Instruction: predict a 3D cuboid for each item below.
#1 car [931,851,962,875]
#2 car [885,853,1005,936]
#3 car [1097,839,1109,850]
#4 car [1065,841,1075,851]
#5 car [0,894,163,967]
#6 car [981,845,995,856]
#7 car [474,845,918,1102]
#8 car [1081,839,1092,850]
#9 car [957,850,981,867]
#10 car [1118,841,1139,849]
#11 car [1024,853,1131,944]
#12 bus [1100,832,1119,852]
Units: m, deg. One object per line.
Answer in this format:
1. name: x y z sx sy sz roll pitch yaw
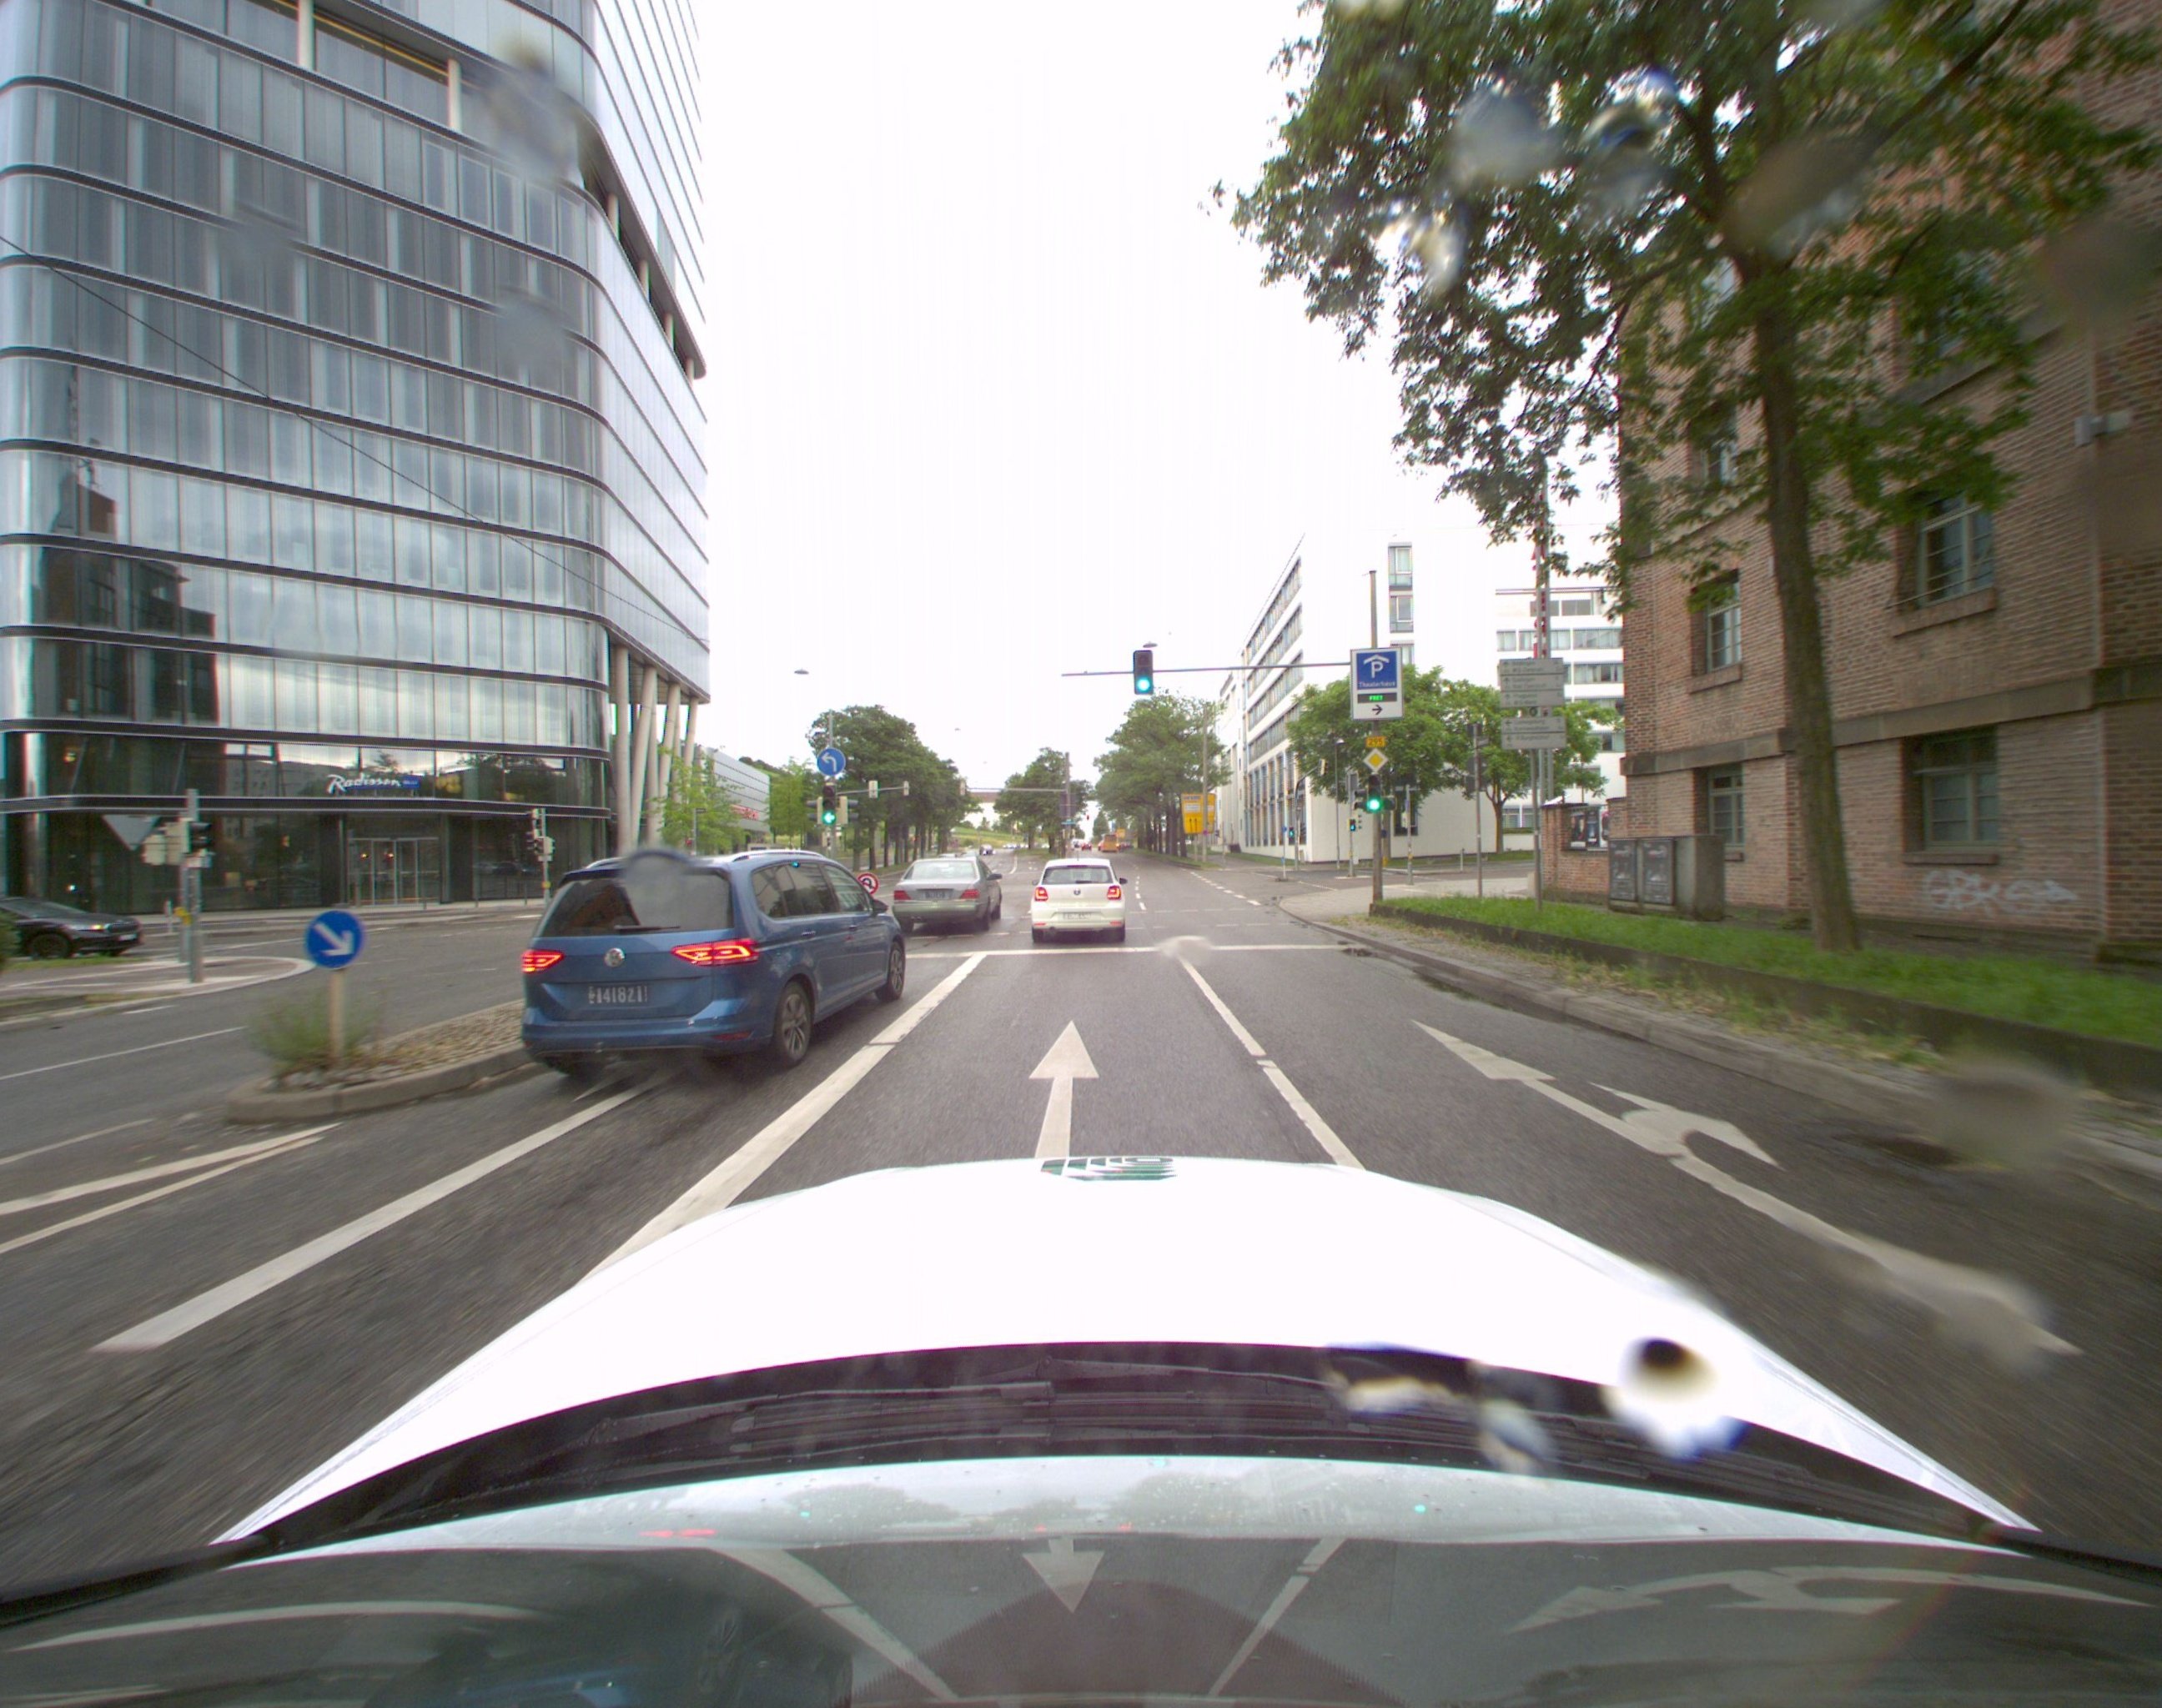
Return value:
1. car: -9.635 0.628 58.575 1.746 1.520 3.813 -2 1 -3
2. car: -2.780 0.767 17.555 1.841 1.510 4.048 -2 0 0
3. car: 4.067 -1.791 151.738 1.987 2.013 3.999 -1 0 -1
4. car: -1.989 -1.519 152.372 1.789 1.741 3.998 -2 0 -1
5. car: -25.769 1.887 19.644 4.373 1.510 1.845 -3 1 -20
6. car: -15.273 -0.619 133.327 1.990 1.615 5.113 -3 1 -4
7. car: -2.903 0.766 7.328 1.765 1.596 4.200 -2 0 3
8. car: 1.042 -1.708 150.595 1.987 2.013 3.999 -1 0 -1
9. car: -10.778 0.394 78.758 1.810 1.411 4.650 -3 1 -3
10. car: 8.724 -1.656 150.412 1.679 1.515 3.850 -2 0 44
11. car: -0.031 0.752 15.706 1.788 1.502 4.000 -1 0 1
12. bus: 4.725 -2.047 138.225 2.819 3.266 9.998 -1 1 0
